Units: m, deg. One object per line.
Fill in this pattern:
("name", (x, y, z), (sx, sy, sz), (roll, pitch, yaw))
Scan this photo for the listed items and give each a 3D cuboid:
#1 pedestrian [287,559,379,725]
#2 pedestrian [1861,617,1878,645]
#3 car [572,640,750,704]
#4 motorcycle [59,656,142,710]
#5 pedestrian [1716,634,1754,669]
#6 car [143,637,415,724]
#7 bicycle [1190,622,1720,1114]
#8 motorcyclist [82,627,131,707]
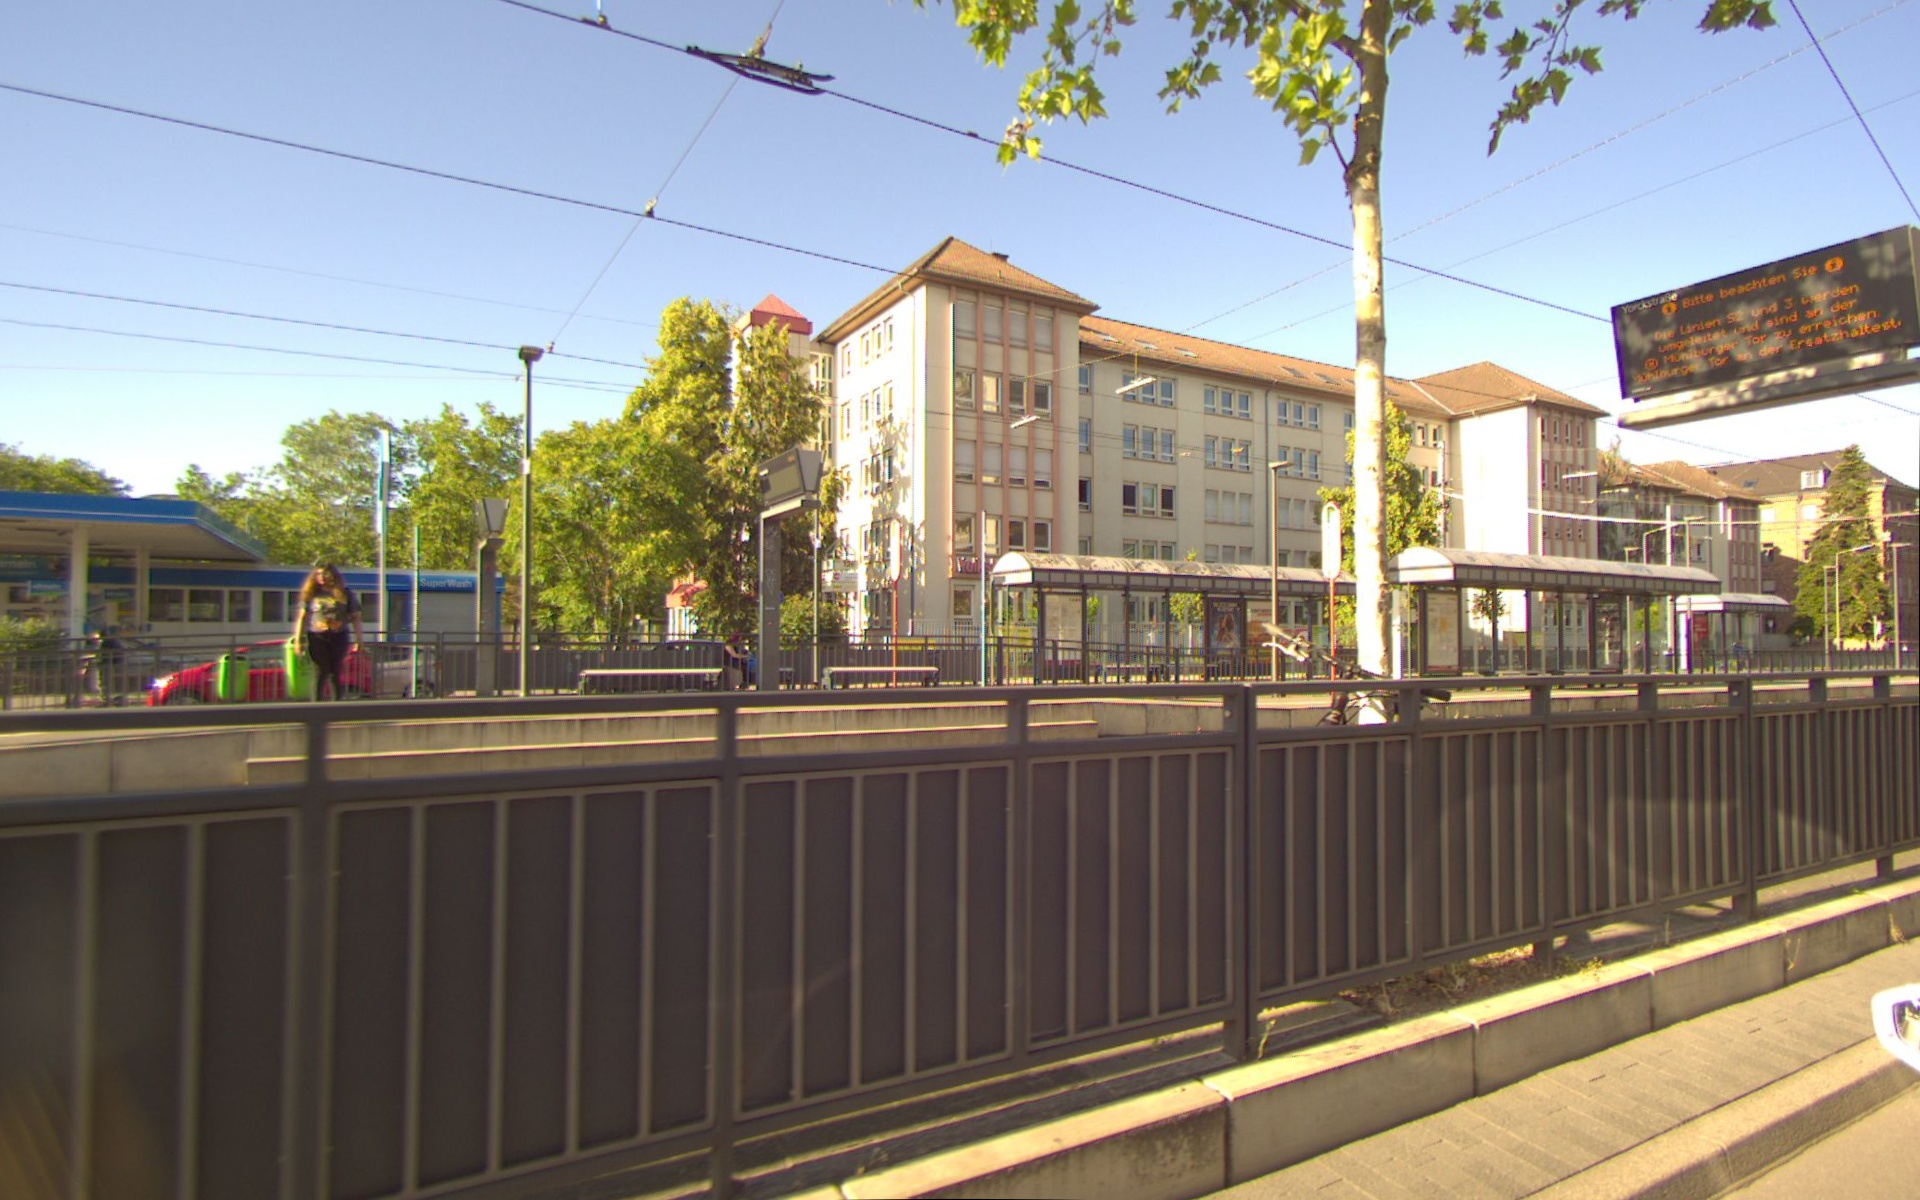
("pedestrian", (-6.396, 0.427, 10.282), (0.726, 1.613, 0.681), (1, -2, -29))
("pedestrian", (61.451, 2.122, 67.881), (0.566, 1.861, 0.689), (1, -2, -30))
("car", (-7.388, 1.737, 24.890), (3.950, 1.439, 1.790), (1, -2, -28))
("motorcycle", (-20.495, 1.967, 23.987), (1.369, 1.261, 0.548), (1, -2, -26))
("pedestrian", (31.715, 2.092, 41.125), (0.869, 1.394, 0.970), (1, -1, -30))
("car", (-12.386, 1.429, 18.612), (3.950, 1.439, 1.790), (1, -2, -28))
("bicycle", (1.868, 0.793, 3.671), (2.143, 1.397, 0.637), (1, -2, -29))
("motorcyclist", (-20.410, 1.599, 24.034), (0.735, 1.877, 0.549), (1, -2, -26))
